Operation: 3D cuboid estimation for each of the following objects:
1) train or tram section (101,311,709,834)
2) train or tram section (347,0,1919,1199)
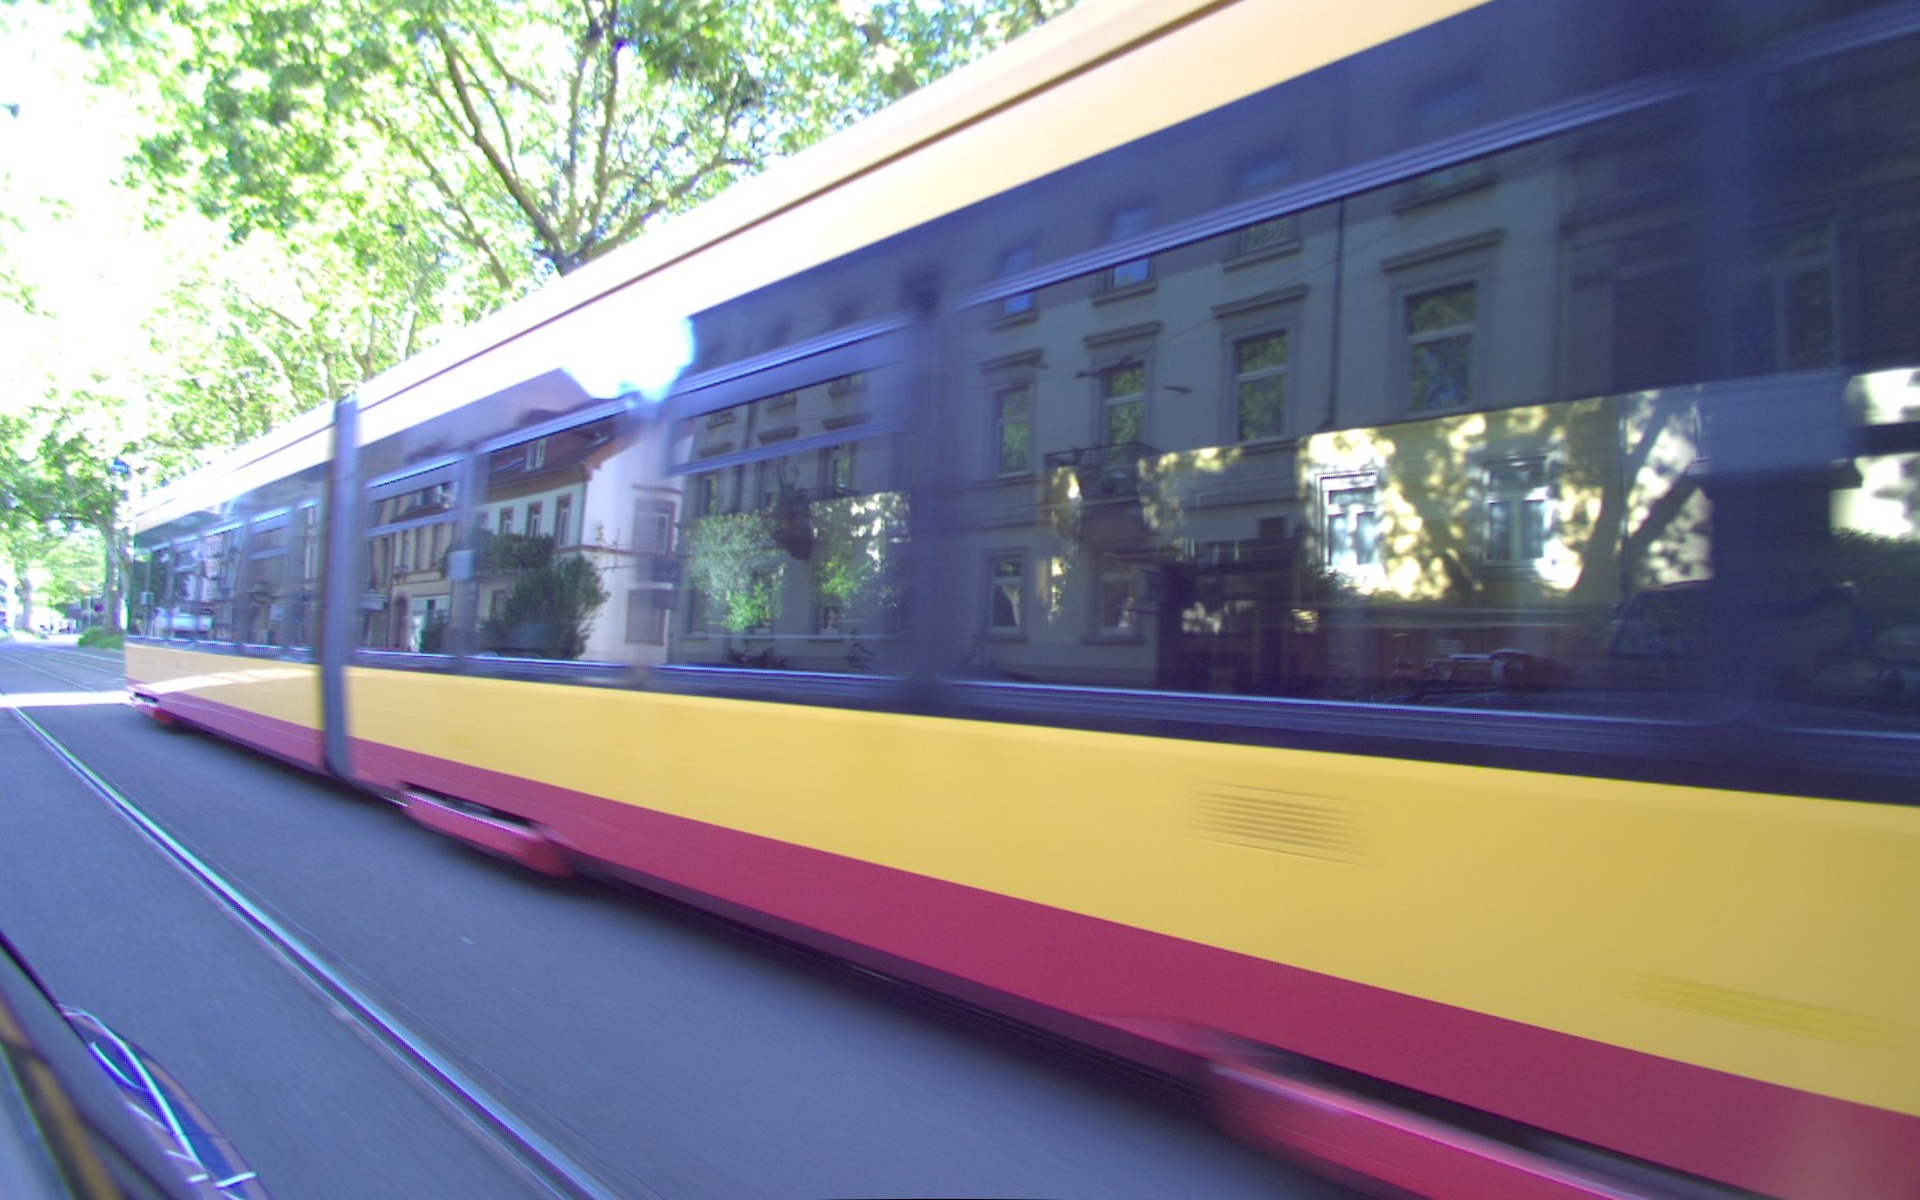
[{"bbox_3d":[-7.779,-0.141,12.412,12.413,3.646,2.904,-1,0,44],"label":"train or tram section"},{"bbox_3d":[0.879,-0.360,4.102,11.261,3.646,2.904,-1,0,44],"label":"train or tram section"}]
